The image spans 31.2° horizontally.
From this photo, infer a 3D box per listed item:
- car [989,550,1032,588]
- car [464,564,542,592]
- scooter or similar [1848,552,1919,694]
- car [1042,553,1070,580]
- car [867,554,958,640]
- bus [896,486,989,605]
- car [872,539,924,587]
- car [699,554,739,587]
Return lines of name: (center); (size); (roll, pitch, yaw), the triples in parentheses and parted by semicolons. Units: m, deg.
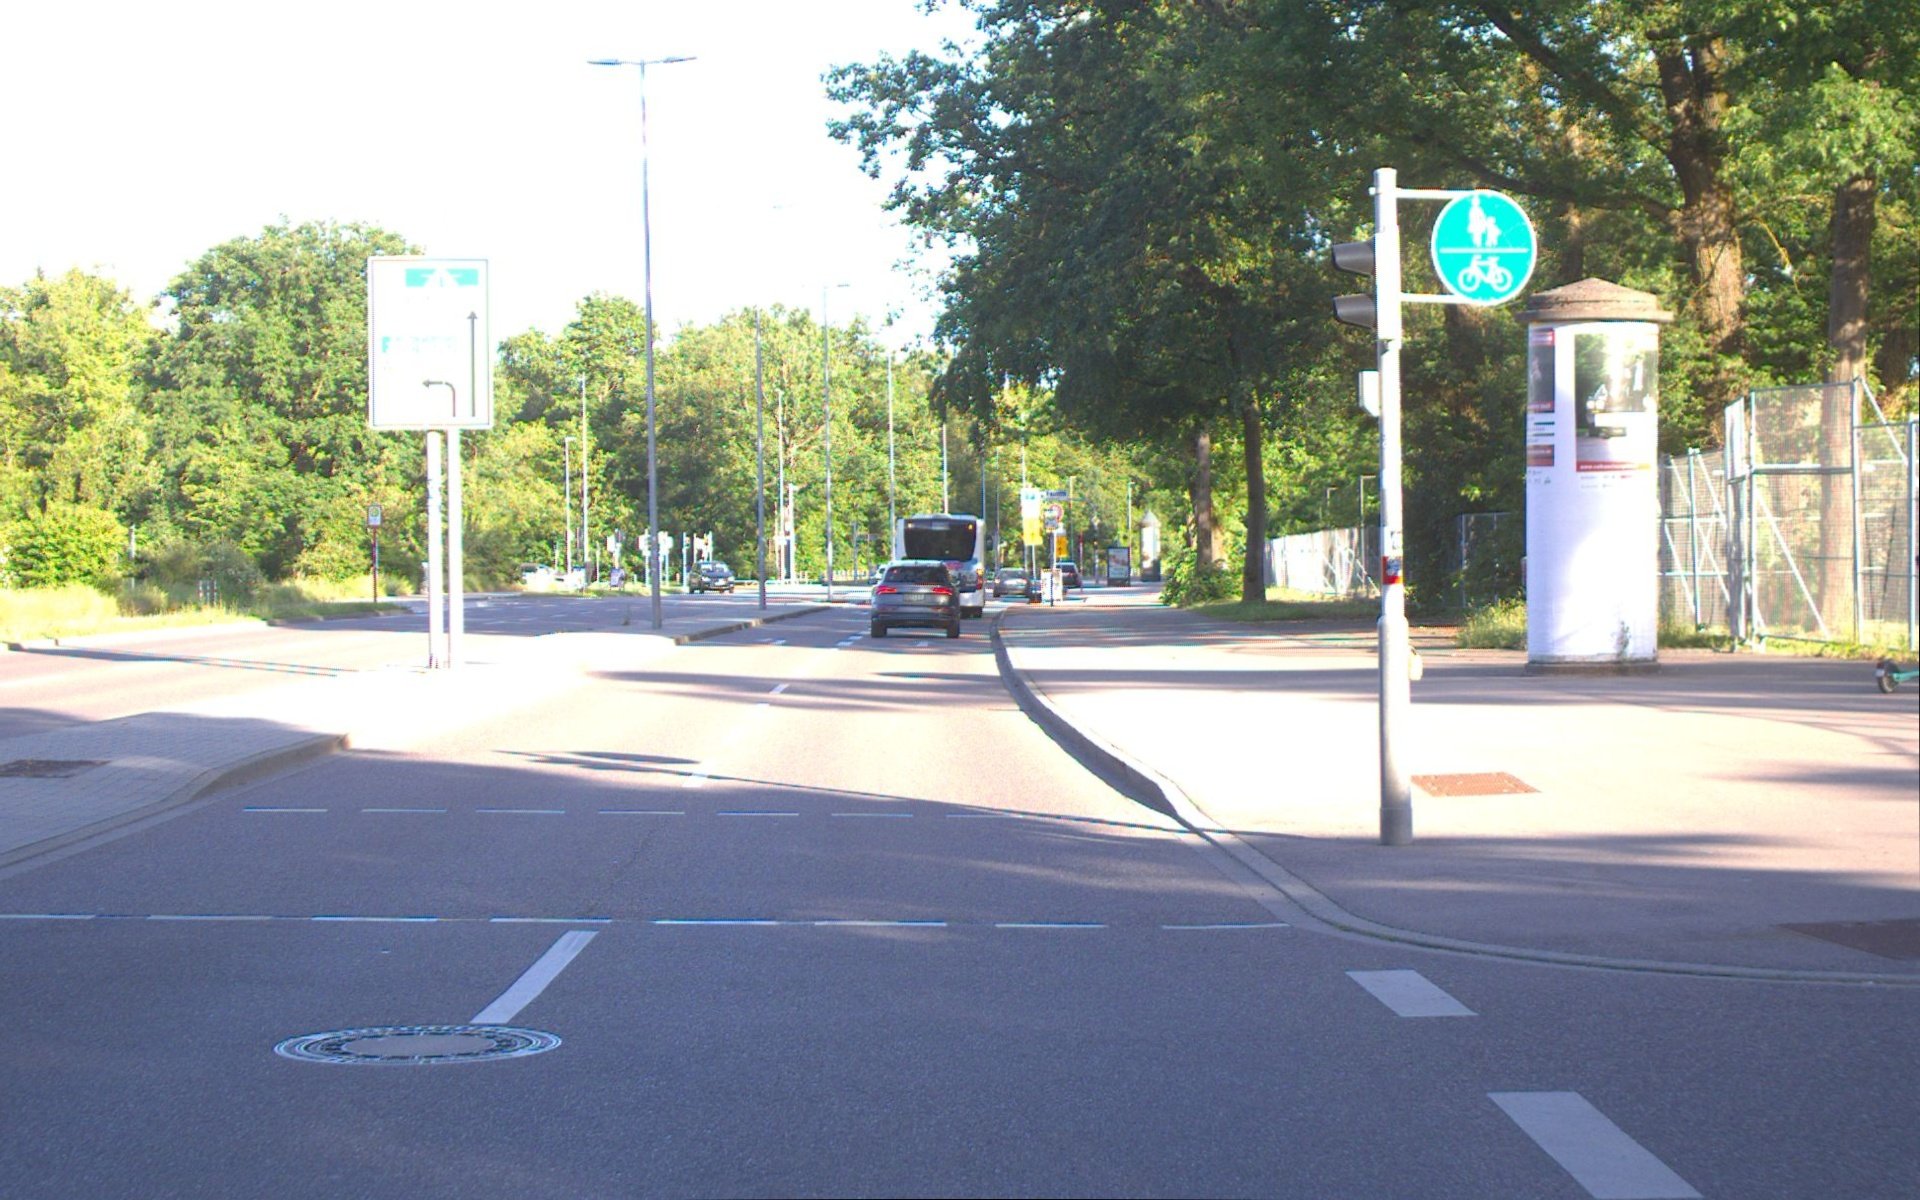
car: (2.377, -1.457, 160.546); (1.863, 1.678, 3.772); (-1, 1, 3)
car: (-24.113, -1.158, 181.497); (3.665, 1.349, 1.738); (-2, 1, -32)
scooter or similar: (8.611, 0.193, 31.029); (0.569, 1.252, 1.597); (0, 0, 38)
car: (5.954, -2.072, 213.395); (1.592, 1.600, 3.584); (1, 0, 0)
car: (-1.028, -0.093, 73.946); (1.880, 1.759, 4.000); (-1, 1, -1)
bus: (-0.570, -1.622, 101.913); (2.605, 3.357, 7.976); (0, 1, -1)
car: (-2.334, -1.393, 129.050); (1.880, 1.759, 4.000); (-1, 1, -1)
car: (-12.744, -1.585, 181.927); (1.863, 1.678, 3.773); (-1, 1, -1)
